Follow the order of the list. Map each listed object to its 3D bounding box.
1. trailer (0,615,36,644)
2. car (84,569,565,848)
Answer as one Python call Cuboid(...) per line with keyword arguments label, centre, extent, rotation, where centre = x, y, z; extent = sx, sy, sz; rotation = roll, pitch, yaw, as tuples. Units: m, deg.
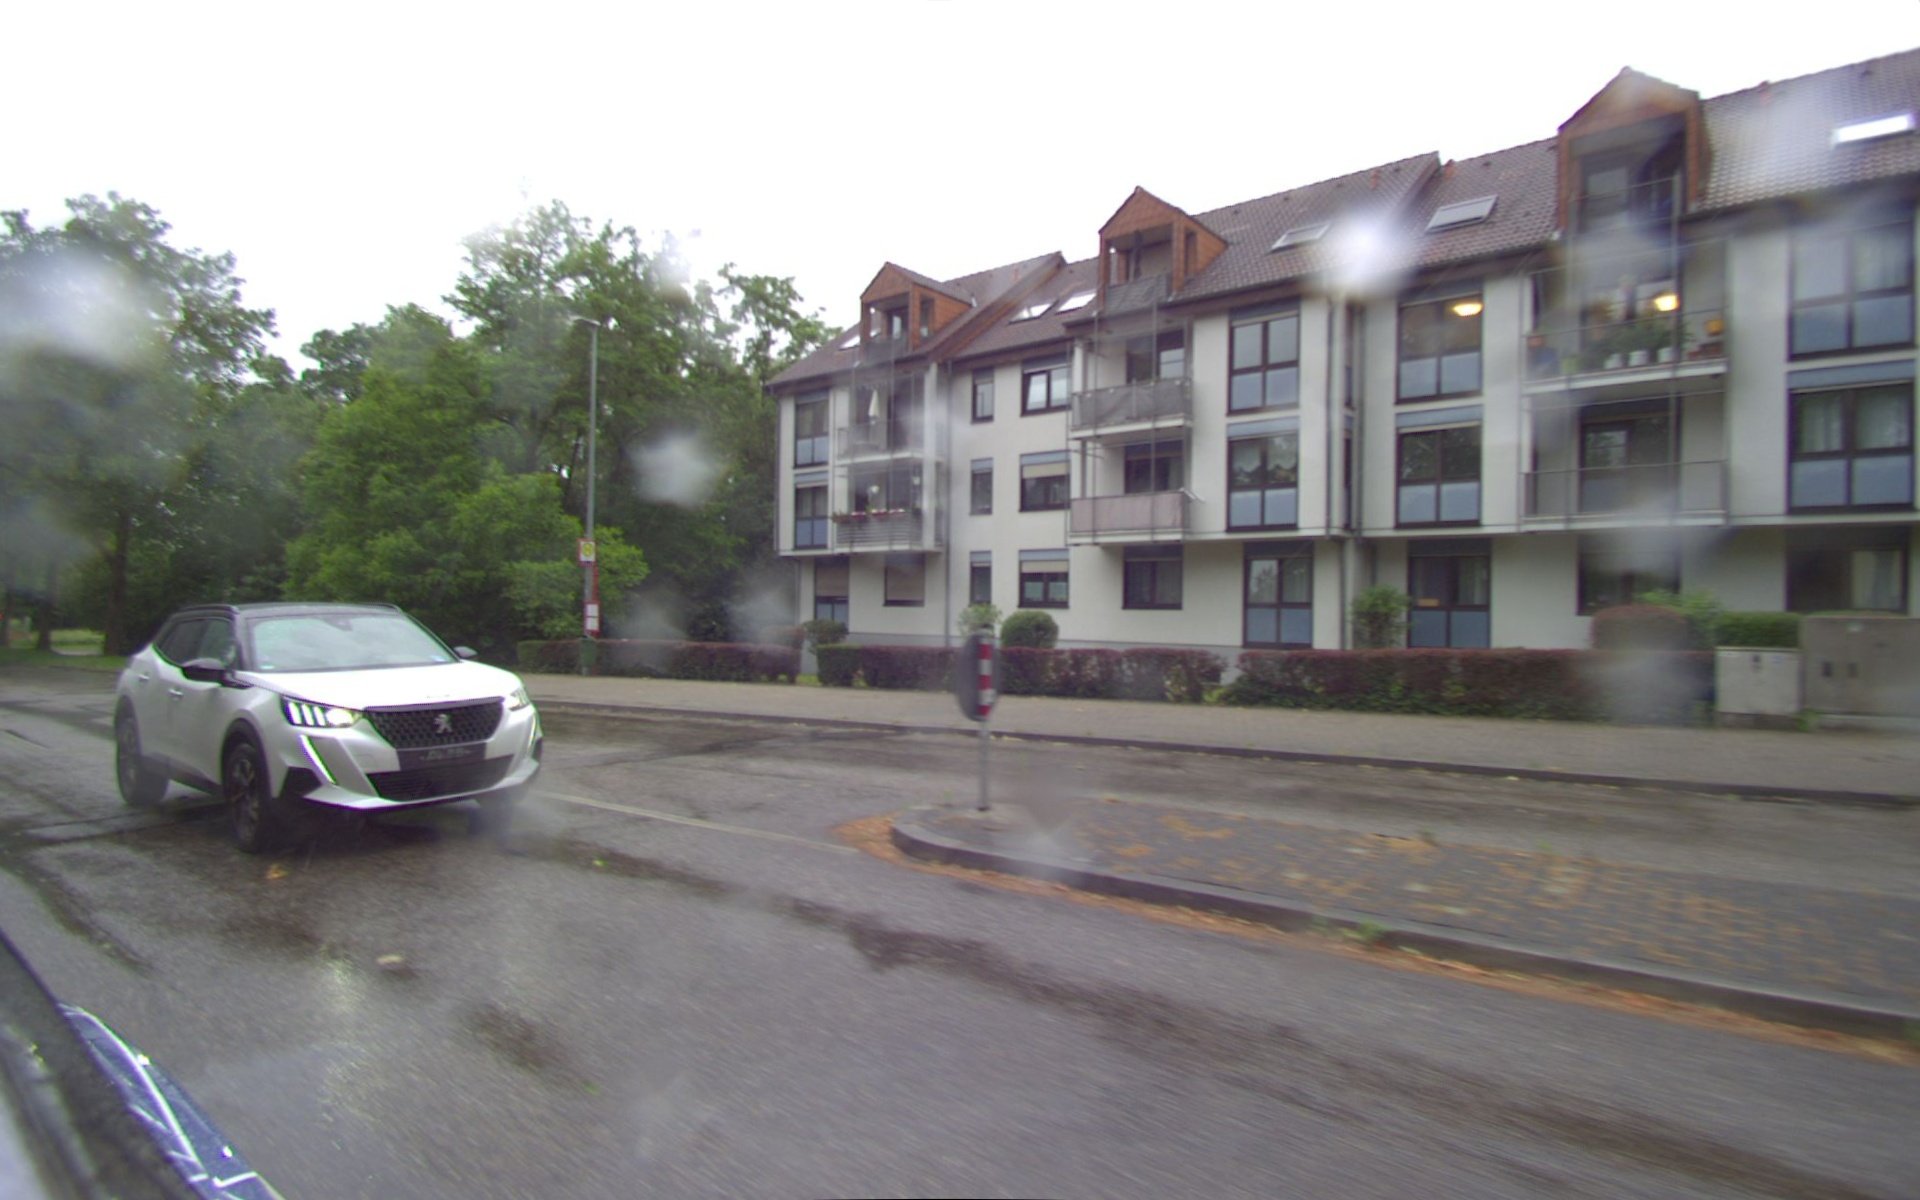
Cuboid(label="trailer", centre=(-94.508, 2.917, 101.049), extent=(6.654, 2.684, 2.767), rotation=(0, -2, 44))
Cuboid(label="car", centre=(-4.977, 0.658, 7.677), extent=(4.362, 1.547, 1.735), rotation=(-1, -2, 39))
